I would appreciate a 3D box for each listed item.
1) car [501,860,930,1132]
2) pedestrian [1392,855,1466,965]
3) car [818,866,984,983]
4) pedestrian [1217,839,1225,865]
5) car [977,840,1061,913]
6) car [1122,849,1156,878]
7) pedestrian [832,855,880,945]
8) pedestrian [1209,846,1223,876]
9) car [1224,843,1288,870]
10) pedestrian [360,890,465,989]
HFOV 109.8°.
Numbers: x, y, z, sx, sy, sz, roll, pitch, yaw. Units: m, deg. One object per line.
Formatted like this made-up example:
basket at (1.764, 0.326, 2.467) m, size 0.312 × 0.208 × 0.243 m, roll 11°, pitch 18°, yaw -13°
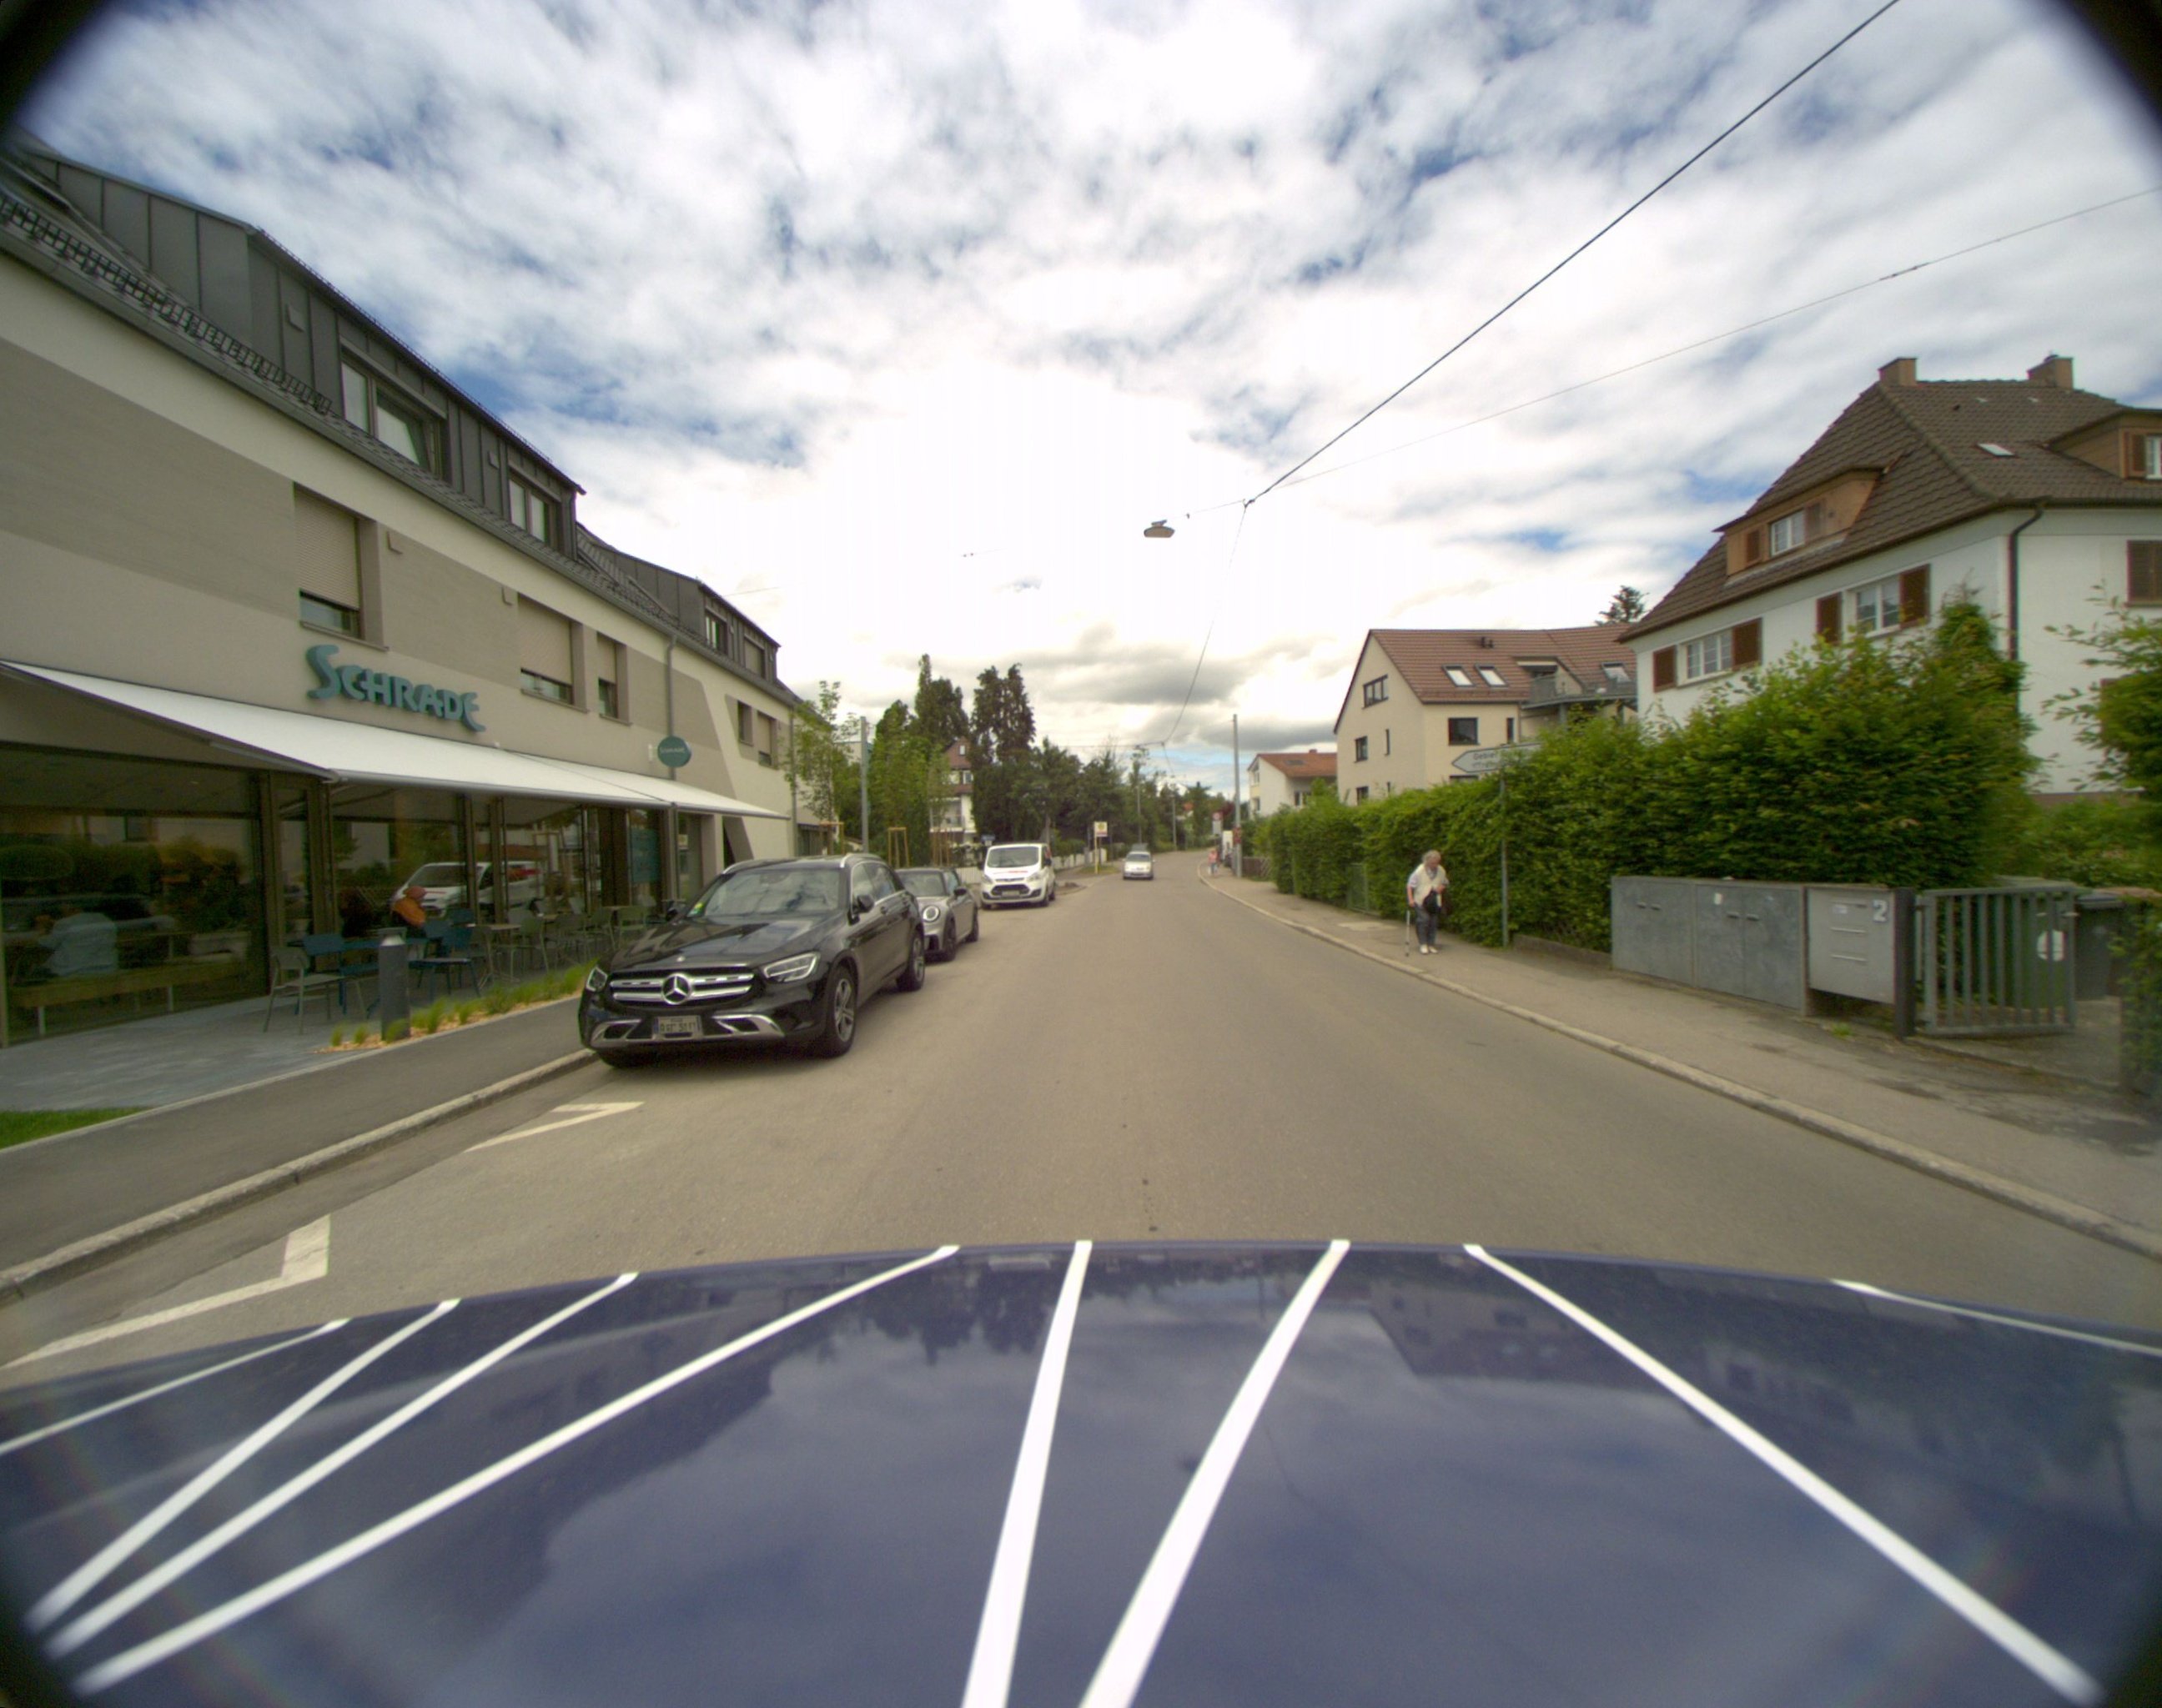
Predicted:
car at (-2.835, 0.946, 7.216) m, size 1.852 × 1.627 × 4.465 m, roll -3°, pitch 1°, yaw 0°
pedestrian at (5.112, 0.799, 11.186) m, size 0.749 × 1.522 × 0.544 m, roll -4°, pitch 1°, yaw -11°
car at (-2.749, 1.018, 12.509) m, size 1.711 × 1.444 × 3.835 m, roll -3°, pitch 1°, yaw 1°
pedestrian at (10.721, -0.135, 58.195) m, size 0.535 × 1.940 × 0.528 m, roll -2°, pitch 1°, yaw 12°
car at (-1.869, 0.623, 24.693) m, size 1.998 × 2.002 × 5.567 m, roll -4°, pitch 0°, yaw 2°
car at (3.319, 0.513, 44.141) m, size 1.725 × 1.559 × 3.927 m, roll -2°, pitch 1°, yaw 2°
pedestrian at (-4.297, 0.868, 14.542) m, size 0.678 × 1.659 × 0.660 m, roll -1°, pitch 1°, yaw 2°
pedestrian at (7.496, 0.382, 42.306) m, size 0.619 × 1.590 × 0.608 m, roll -2°, pitch 1°, yaw 1°
car at (11.963, 0.150, 52.102) m, size 3.996 × 1.718 × 1.885 m, roll -2°, pitch 1°, yaw 4°
pedestrian at (-8.984, 1.131, 10.237) m, size 0.753 × 1.231 × 0.691 m, roll -2°, pitch 1°, yaw -4°
